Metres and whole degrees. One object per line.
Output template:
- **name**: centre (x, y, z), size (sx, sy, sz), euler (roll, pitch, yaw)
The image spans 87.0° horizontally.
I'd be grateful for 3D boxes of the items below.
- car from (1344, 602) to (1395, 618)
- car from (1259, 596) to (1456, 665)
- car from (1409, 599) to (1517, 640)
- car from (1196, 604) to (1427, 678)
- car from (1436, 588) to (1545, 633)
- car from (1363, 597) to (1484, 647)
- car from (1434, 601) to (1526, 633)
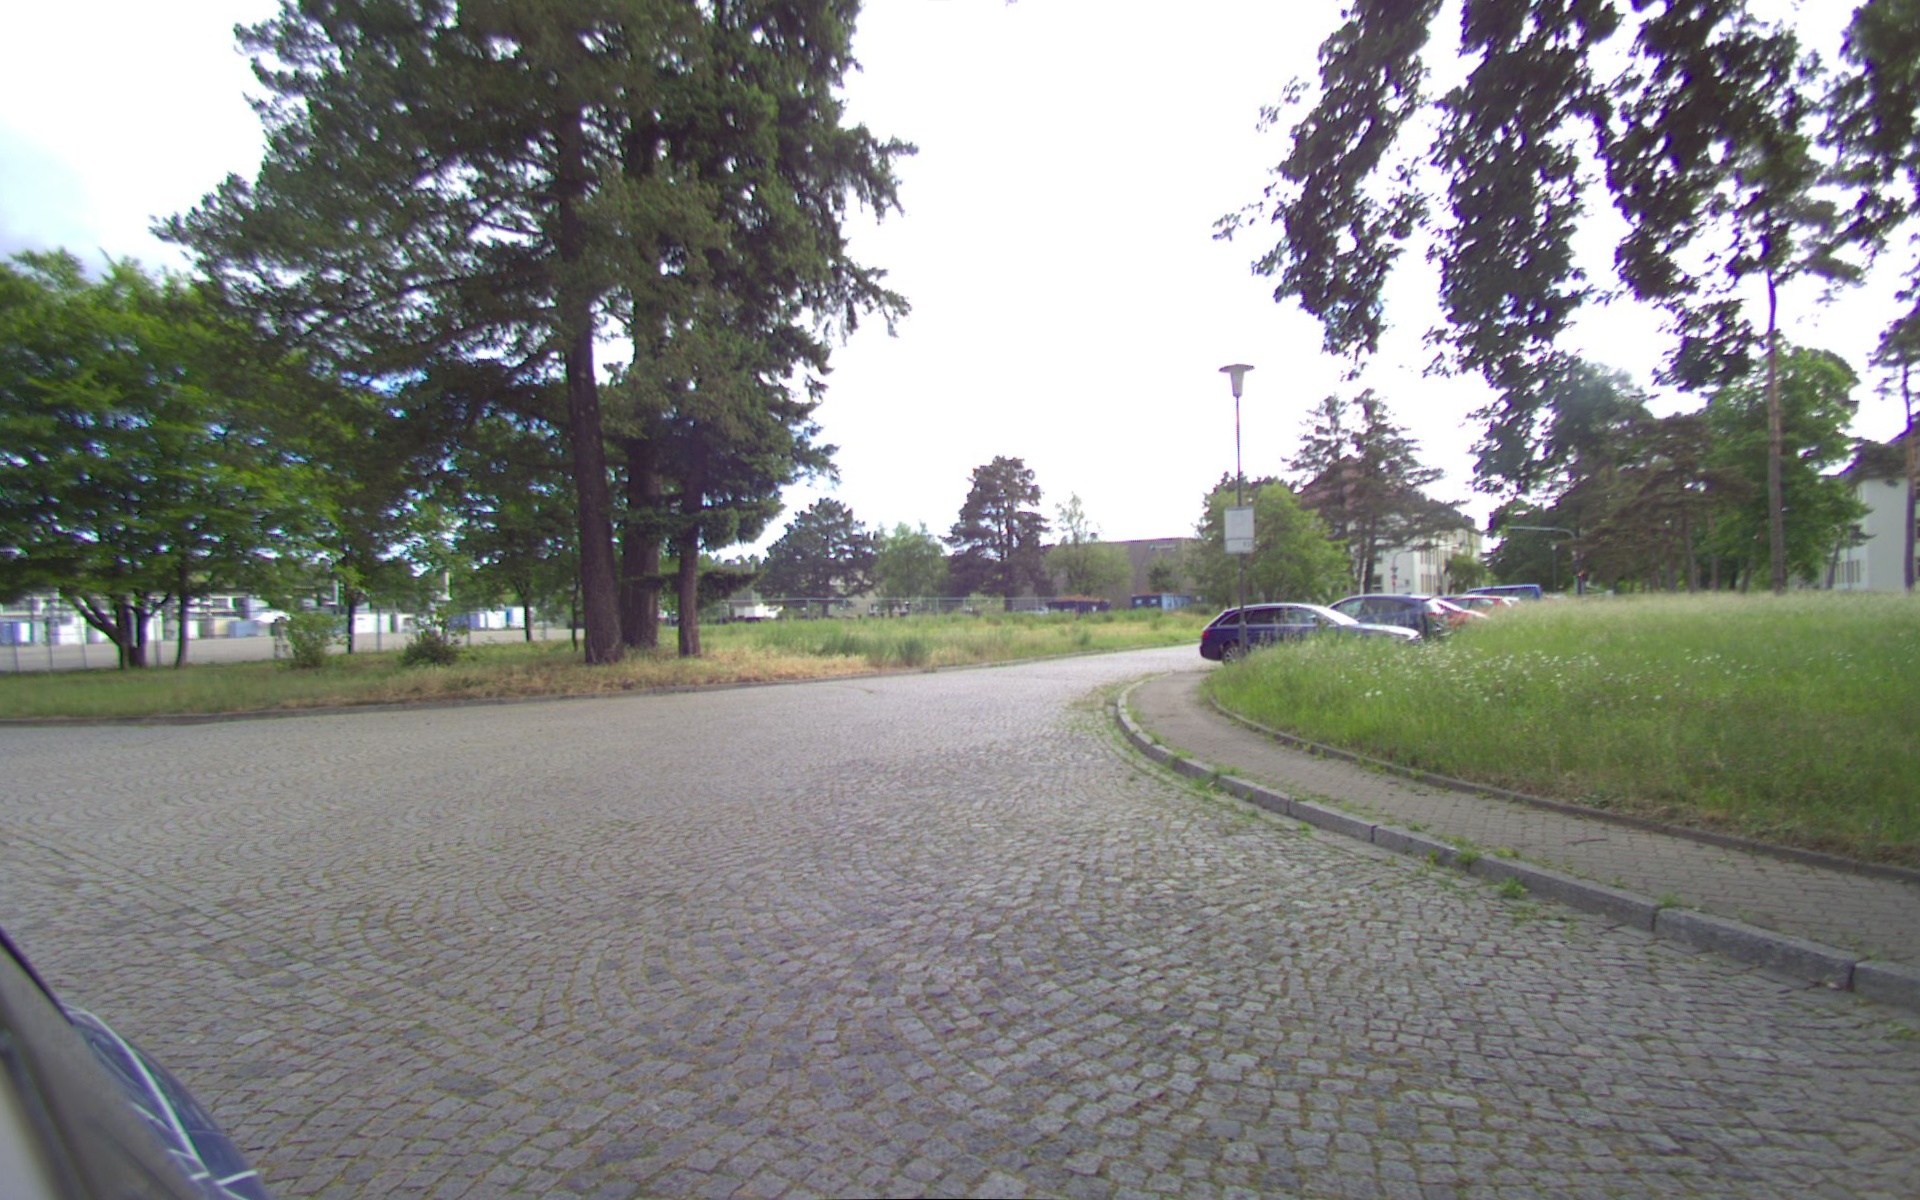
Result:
- **car**: centre (30.200, 0.766, 74.638), size (3.257, 1.095, 1.434), euler (-2, -1, 31)
- **car**: centre (10.032, 0.780, 25.655), size (4.353, 1.574, 1.744), euler (-3, -1, 33)
- **car**: centre (20.015, 0.766, 40.346), size (3.652, 1.432, 1.560), euler (-4, -2, 33)
- **car**: centre (7.480, 0.899, 21.747), size (4.347, 1.415, 1.742), euler (-3, -2, 37)
- **car**: centre (26.176, 0.534, 49.980), size (4.532, 1.916, 1.773), euler (-4, -2, 33)
- **car**: centre (15.631, 0.761, 34.168), size (3.489, 1.493, 1.584), euler (-4, -2, 33)
- **car**: centre (24.637, 0.815, 48.013), size (3.684, 1.349, 1.566), euler (-4, -2, 33)
